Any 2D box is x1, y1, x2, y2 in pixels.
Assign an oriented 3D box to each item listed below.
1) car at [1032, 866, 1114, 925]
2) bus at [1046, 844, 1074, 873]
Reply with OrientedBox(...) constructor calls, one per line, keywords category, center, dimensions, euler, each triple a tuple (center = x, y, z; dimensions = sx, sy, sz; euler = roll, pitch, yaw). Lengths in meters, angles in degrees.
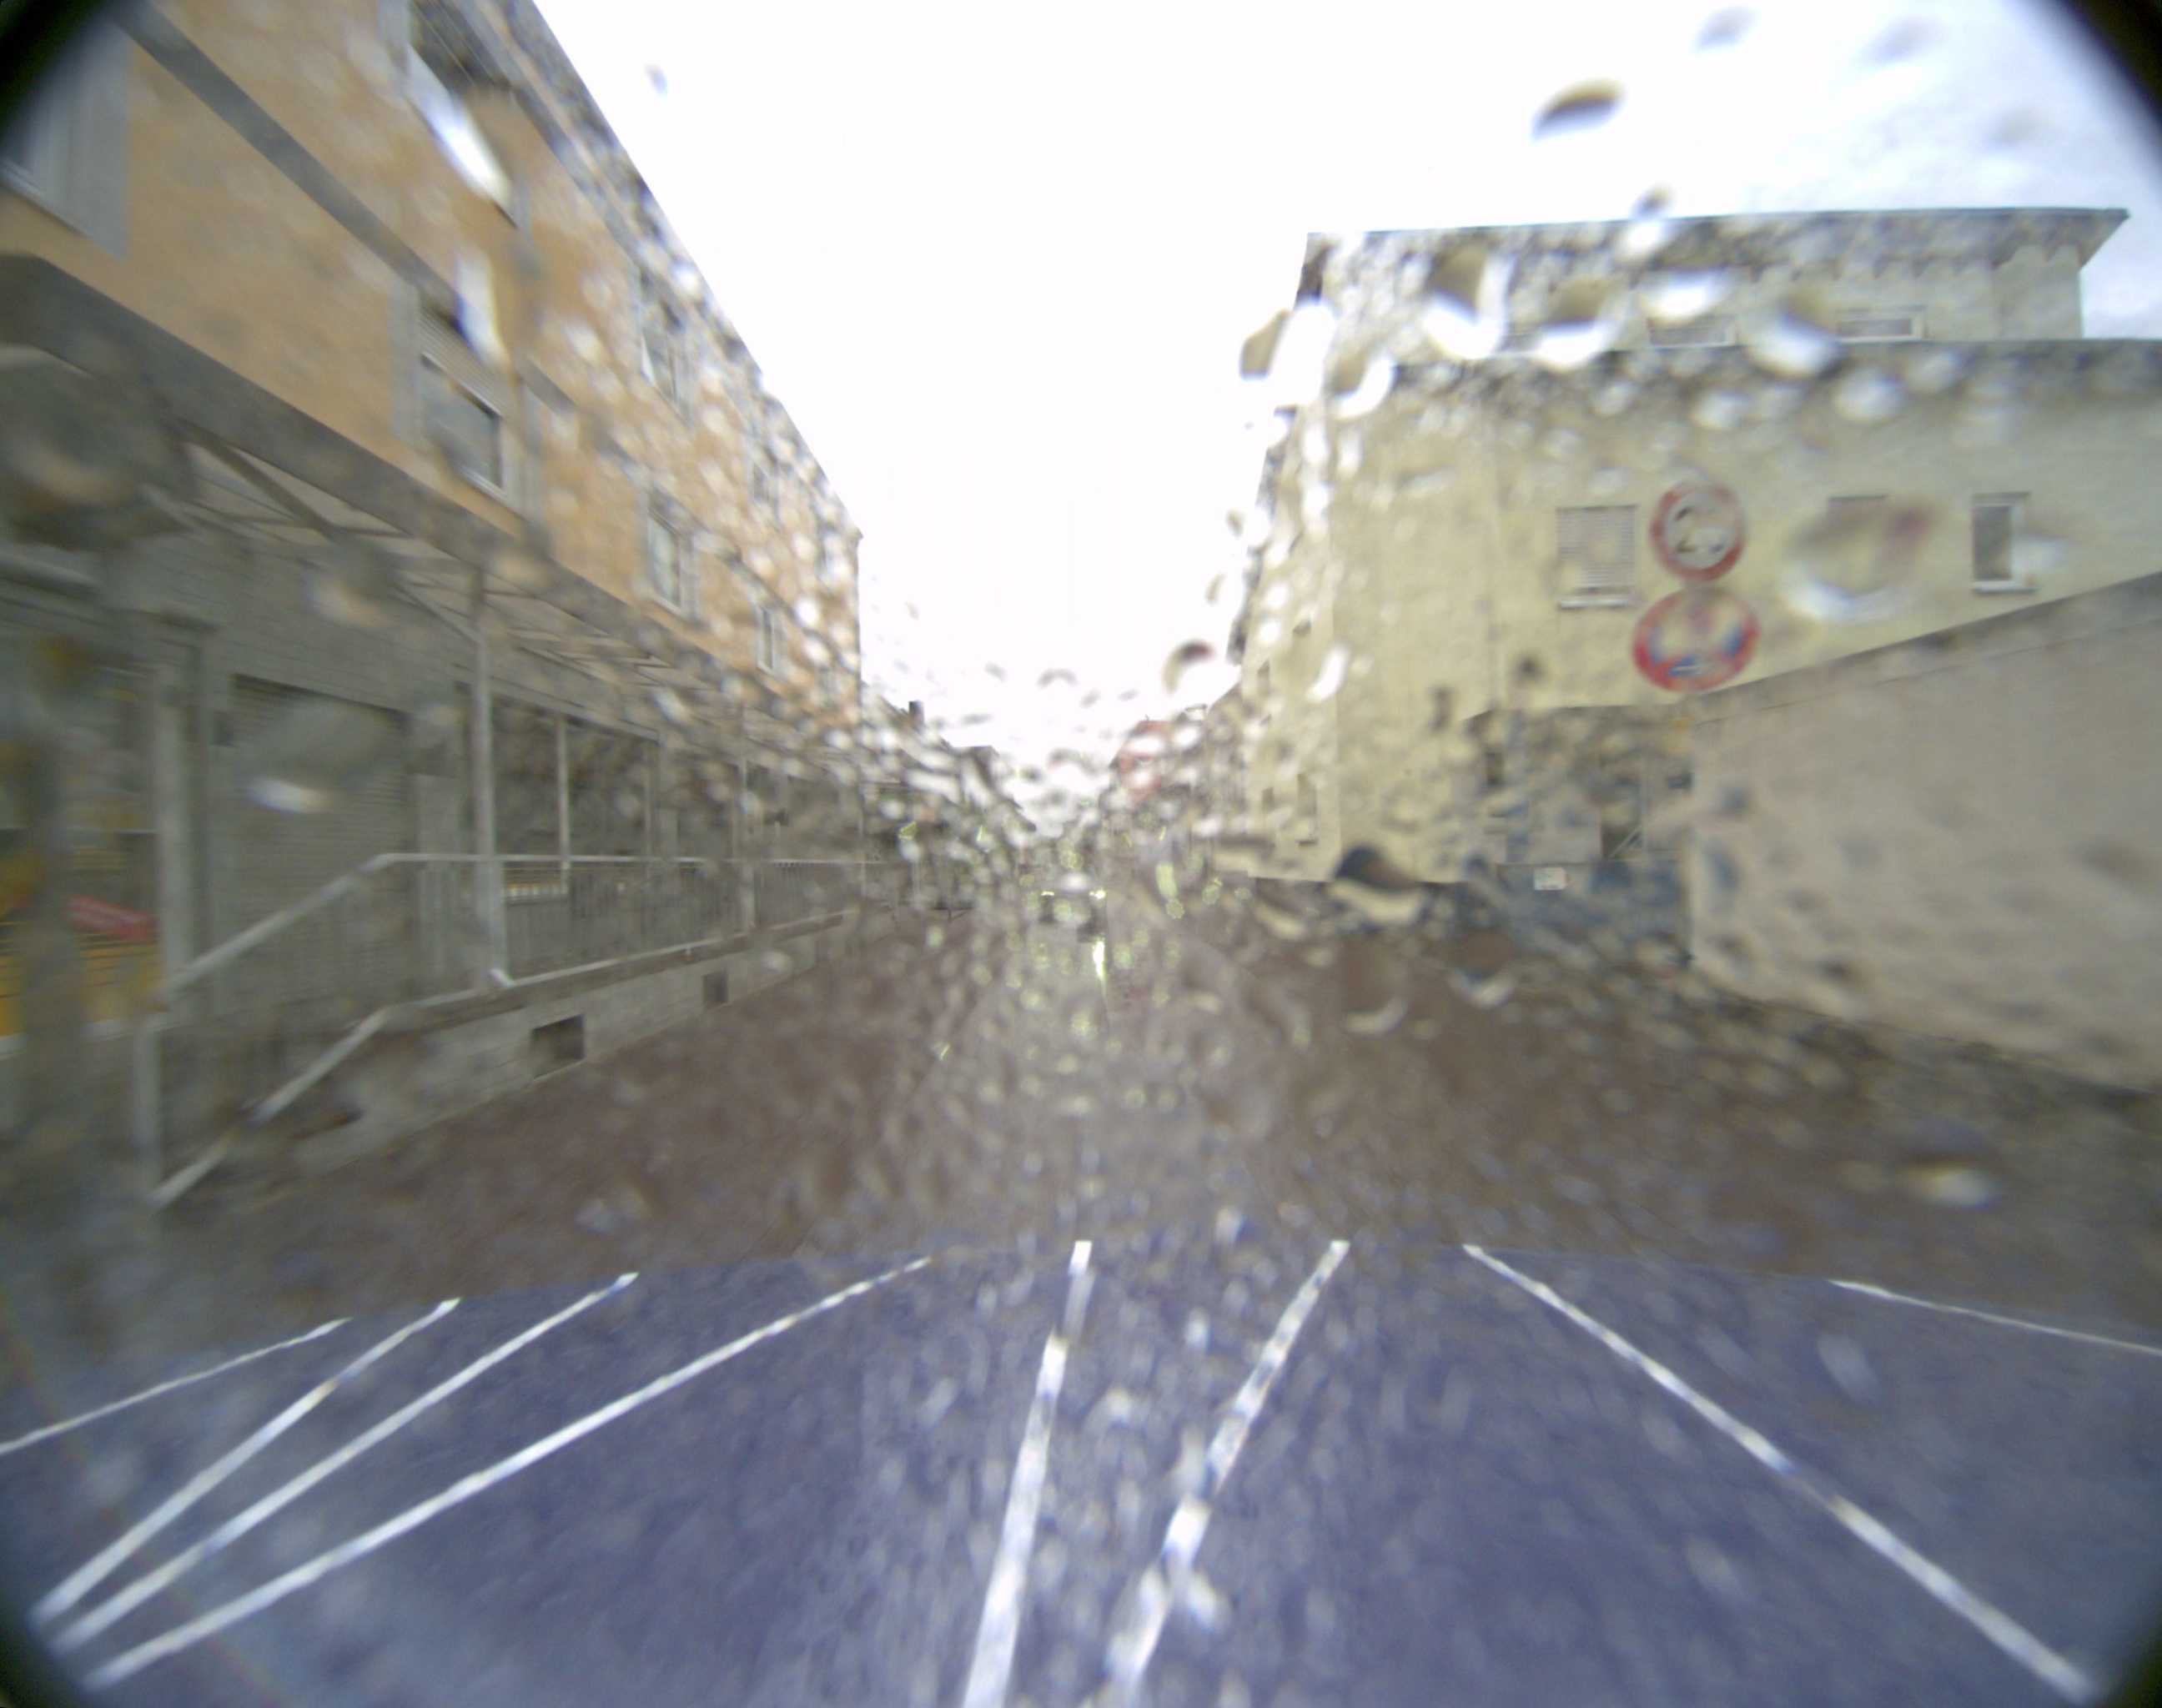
OrientedBox(category="car", center=(-0.112, 1.037, 20.207), dimensions=(1.800, 1.341, 3.740), euler=(-3, -1, 4))
OrientedBox(category="bus", center=(-2.980, 0.599, 104.643), dimensions=(2.894, 3.589, 11.974), euler=(-2, 0, -5))
